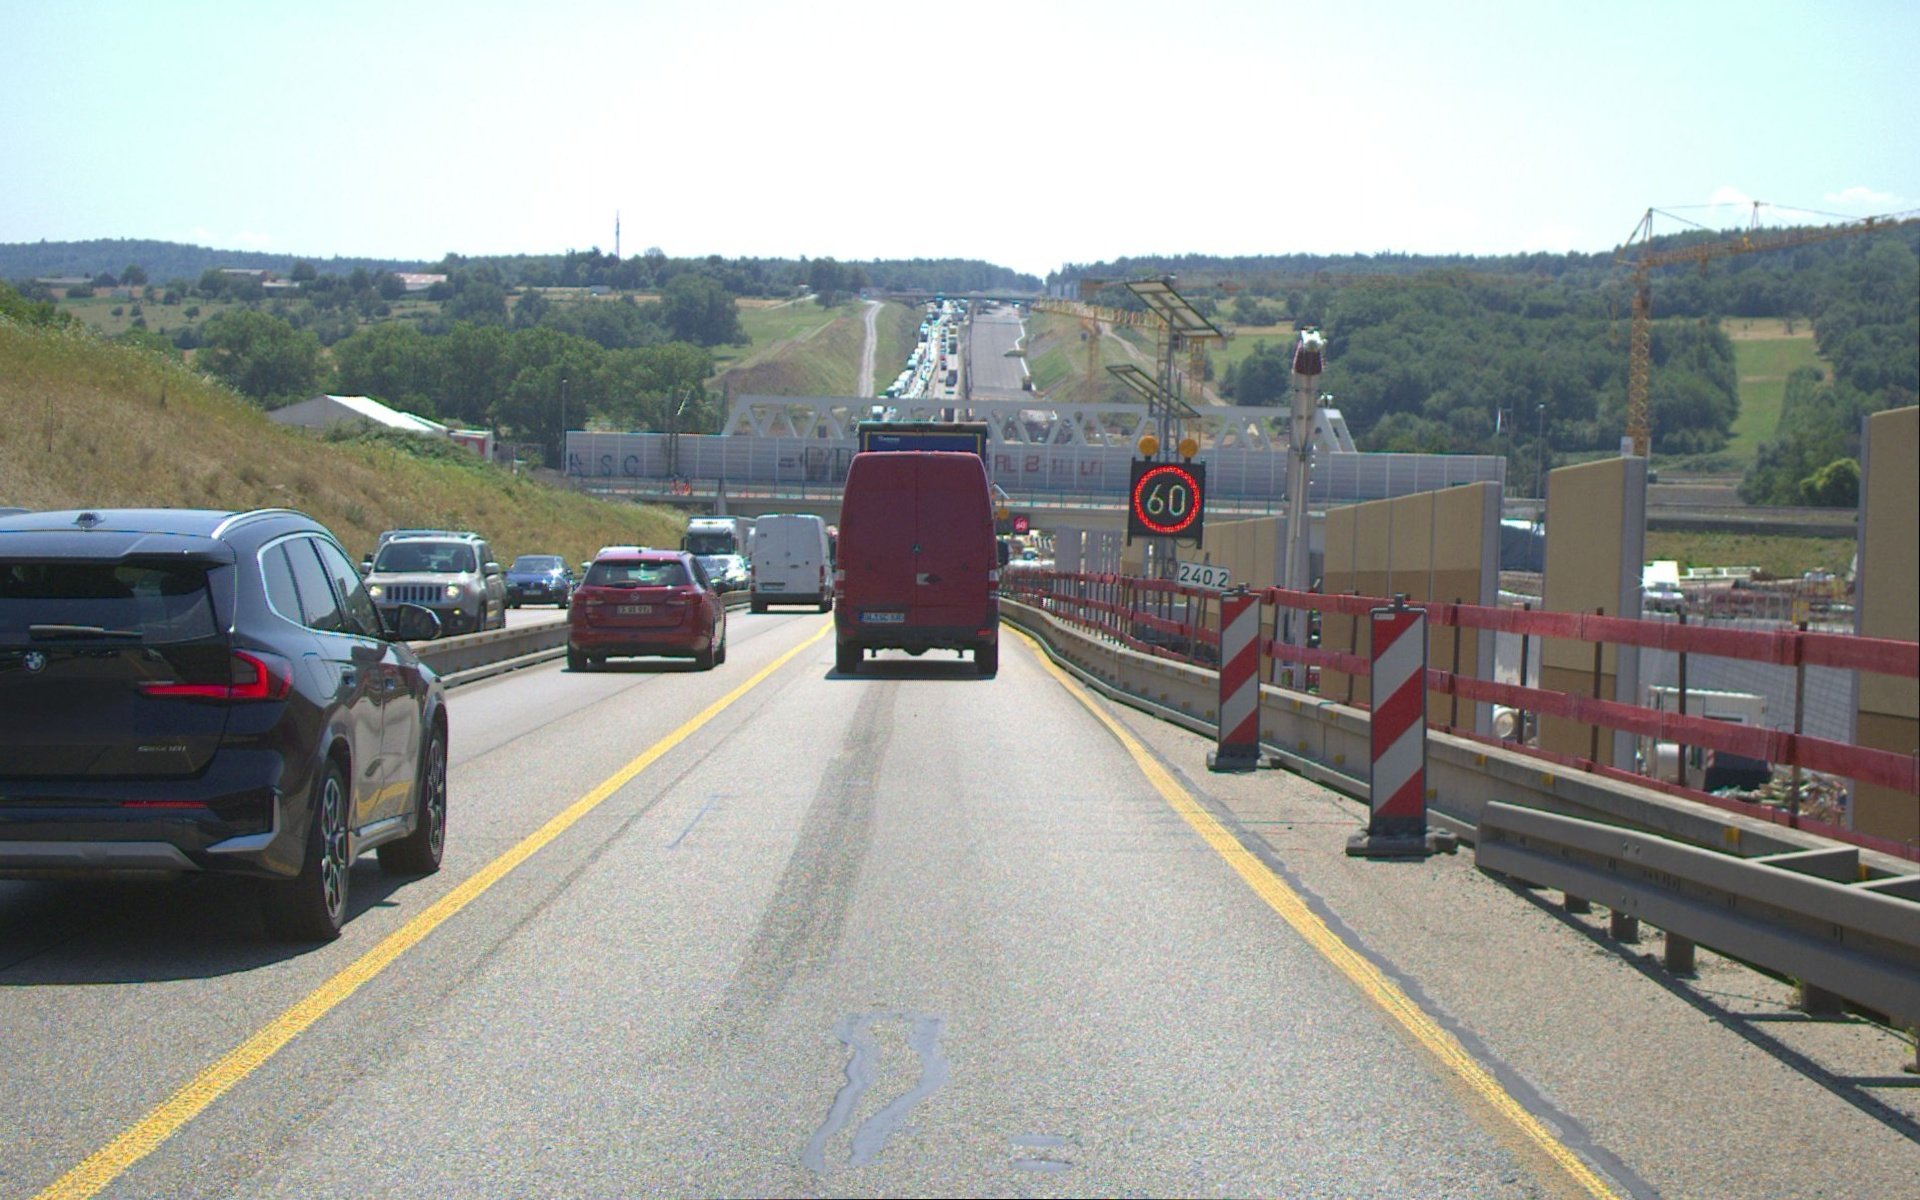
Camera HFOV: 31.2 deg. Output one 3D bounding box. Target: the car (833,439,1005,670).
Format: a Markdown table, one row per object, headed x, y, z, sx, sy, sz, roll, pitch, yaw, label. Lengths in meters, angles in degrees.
| x | y | z | sx | sy | sz | roll | pitch | yaw | label |
| --- | --- | --- | --- | --- | --- | --- | --- | --- | --- |
| -0.506 | -0.558 | 42.344 | 1.988 | 2.681 | 4.624 | 0 | 1 | -1 | car |

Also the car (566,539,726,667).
| x | y | z | sx | sy | sz | roll | pitch | yaw | label |
| --- | --- | --- | --- | --- | --- | --- | --- | --- | --- |
| -3.871 | 0.010 | 42.881 | 1.775 | 1.512 | 4.206 | 0 | 1 | -2 | car |

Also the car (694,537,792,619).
| x | y | z | sx | sy | sz | roll | pitch | yaw | label |
| --- | --- | --- | --- | --- | --- | --- | --- | --- | --- |
| -4.451 | -0.473 | 70.889 | 1.839 | 1.648 | 4.165 | 0 | 1 | -1 | car |

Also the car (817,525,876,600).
| x | y | z | sx | sy | sz | roll | pitch | yaw | label |
| --- | --- | --- | --- | --- | --- | --- | --- | --- | --- |
| -3.570 | -1.192 | 108.556 | 1.776 | 2.322 | 4.206 | 0 | 1 | -1 | car |

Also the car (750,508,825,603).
| x | y | z | sx | sy | sz | roll | pitch | yaw | label |
| --- | --- | --- | --- | --- | --- | --- | --- | --- | --- |
| -4.482 | -1.161 | 89.789 | 1.776 | 2.433 | 4.206 | 0 | 1 | -1 | car |

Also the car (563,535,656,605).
| x | y | z | sx | sy | sz | roll | pitch | yaw | label |
| --- | --- | --- | --- | --- | --- | --- | --- | --- | --- |
| -8.562 | -0.760 | 84.391 | 1.839 | 1.648 | 5.372 | 0 | 1 | -1 | car |

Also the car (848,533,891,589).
| x | y | z | sx | sy | sz | roll | pitch | yaw | label |
| --- | --- | --- | --- | --- | --- | --- | --- | --- | --- |
| -3.796 | -1.661 | 145.029 | 1.776 | 2.322 | 4.206 | 0 | 1 | -1 | car |

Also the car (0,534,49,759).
| x | y | z | sx | sy | sz | roll | pitch | yaw | label |
| --- | --- | --- | --- | --- | --- | --- | --- | --- | --- |
| -7.077 | 0.311 | 21.619 | 1.669 | 1.461 | 4.000 | 1 | 1 | -1 | car |

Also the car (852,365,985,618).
| x | y | z | sx | sy | sz | roll | pitch | yaw | label |
| --- | --- | --- | --- | --- | --- | --- | --- | --- | --- |
| -0.888 | -2.220 | 73.502 | 2.621 | 5.015 | 10.397 | 0 | 1 | -1 | car |

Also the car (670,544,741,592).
| x | y | z | sx | sy | sz | roll | pitch | yaw | label |
| --- | --- | --- | --- | --- | --- | --- | --- | --- | --- |
| -8.163 | -1.035 | 110.826 | 1.955 | 1.494 | 5.090 | 1 | 1 | -1 | car |

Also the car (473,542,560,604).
| x | y | z | sx | sy | sz | roll | pitch | yaw | label |
| --- | --- | --- | --- | --- | --- | --- | --- | --- | --- |
| -11.693 | -0.726 | 90.807 | 1.684 | 1.580 | 5.127 | 1 | 1 | -1 | car |

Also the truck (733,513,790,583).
| x | y | z | sx | sy | sz | roll | pitch | yaw | label |
| --- | --- | --- | --- | --- | --- | --- | --- | --- | --- |
| -9.826 | -2.550 | 170.695 | 2.538 | 3.362 | 7.038 | 1 | 1 | -1 | truck |

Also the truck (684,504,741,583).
| x | y | z | sx | sy | sz | roll | pitch | yaw | label |
| --- | --- | --- | --- | --- | --- | --- | --- | --- | --- |
| -12.861 | -2.937 | 179.160 | 2.698 | 4.036 | 3.955 | 1 | 1 | -1 | truck |

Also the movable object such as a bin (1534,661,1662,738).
| x | y | z | sx | sy | sz | roll | pitch | yaw | label |
| --- | --- | --- | --- | --- | --- | --- | --- | --- | --- |
| 23.666 | 3.656 | 127.862 | 3.163 | 2.437 | 7.895 | 3 | 0 | 0 | movable object such as a bin |

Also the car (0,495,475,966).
| x | y | z | sx | sy | sz | roll | pitch | yaw | label |
| --- | --- | --- | --- | --- | --- | --- | --- | --- | --- |
| -3.208 | 0.415 | 14.026 | 1.879 | 1.612 | 4.499 | 0 | 1 | -1 | car |

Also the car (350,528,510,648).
| x | y | z | sx | sy | sz | roll | pitch | yaw | label |
| --- | --- | --- | --- | --- | --- | --- | --- | --- | --- |
| -7.662 | -0.188 | 50.057 | 1.832 | 1.660 | 4.415 | 0 | 1 | -2 | car |

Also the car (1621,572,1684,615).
| x | y | z | sx | sy | sz | roll | pitch | yaw | label |
| --- | --- | --- | --- | --- | --- | --- | --- | --- | --- |
| 33.237 | -0.330 | 165.018 | 1.805 | 2.007 | 4.826 | 1 | 1 | -3 | car |
